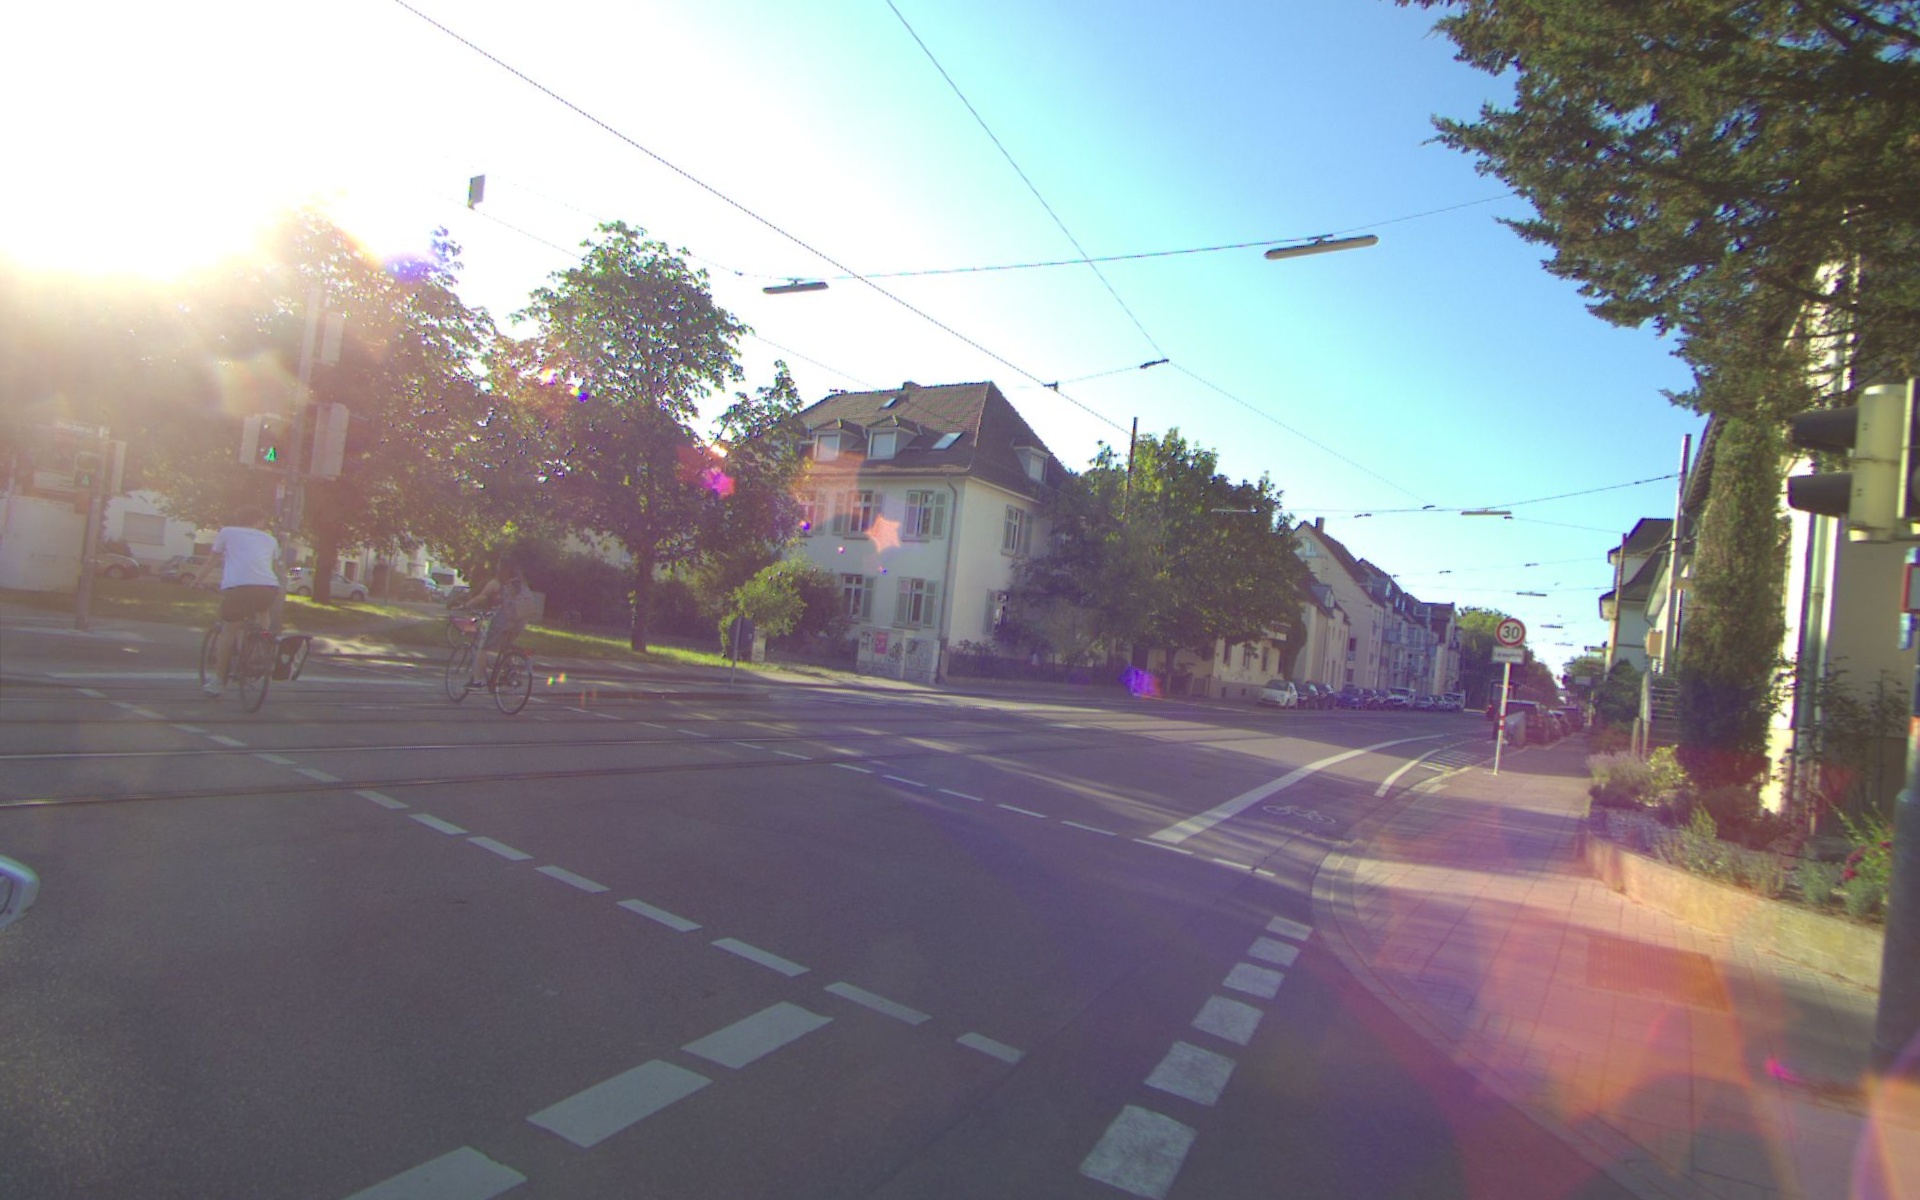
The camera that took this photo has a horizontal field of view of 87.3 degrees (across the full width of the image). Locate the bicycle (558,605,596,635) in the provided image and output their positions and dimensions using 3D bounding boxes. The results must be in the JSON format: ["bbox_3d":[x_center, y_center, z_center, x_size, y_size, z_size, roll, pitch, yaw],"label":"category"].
[{"bbox_3d":[-17.210,0.881,45.191,1.924,1.250,0.450,1,-7,33],"label":"bicycle"}]

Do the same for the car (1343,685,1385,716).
[{"bbox_3d":[30.531,7.641,76.022,1.969,2.036,3.991,5,-3,34],"label":"car"}]

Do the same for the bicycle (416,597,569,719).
[{"bbox_3d":[-5.416,0.647,11.610,1.932,1.196,0.492,4,-4,32],"label":"bicycle"}]

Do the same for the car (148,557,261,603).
[{"bbox_3d":[-33.254,-0.847,44.358,1.579,1.533,3.561,4,-3,31],"label":"car"}]

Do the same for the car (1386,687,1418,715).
[{"bbox_3d":[38.790,8.881,88.228,1.967,2.034,3.999,4,-5,31],"label":"car"}]

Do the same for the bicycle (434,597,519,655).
[{"bbox_3d":[-10.456,0.573,21.787,0.461,1.102,1.519,4,-3,44],"label":"bicycle"}]

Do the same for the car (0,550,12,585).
[{"bbox_3d":[-42.985,-1.650,42.467,1.690,1.462,3.991,3,-4,36],"label":"car"}]

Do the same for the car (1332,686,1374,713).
[{"bbox_3d":[28.158,7.163,72.061,1.896,1.614,3.893,4,-3,34],"label":"car"}]

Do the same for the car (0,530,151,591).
[{"bbox_3d":[-36.063,-1.592,41.076,2.000,1.896,4.245,4,-4,36],"label":"car"}]

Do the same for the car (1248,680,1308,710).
[{"bbox_3d":[17.596,5.280,55.547,1.969,1.325,3.991,5,-3,35],"label":"car"}]

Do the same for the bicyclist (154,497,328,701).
[{"bbox_3d":[-6.711,0.002,9.414,0.878,1.750,0.817,5,-4,28],"label":"bicyclist"}]

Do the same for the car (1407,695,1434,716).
[{"bbox_3d":[44.546,10.223,97.363,1.811,1.551,3.875,4,-6,32],"label":"car"}]

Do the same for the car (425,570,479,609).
[{"bbox_3d":[-38.187,-0.728,75.727,2.077,2.361,4.520,7,-5,-9],"label":"car"}]

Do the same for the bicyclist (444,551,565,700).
[{"bbox_3d":[-5.227,0.298,11.568,0.879,1.578,0.714,4,-4,32],"label":"bicyclist"}]

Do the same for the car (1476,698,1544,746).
[{"bbox_3d":[22.383,4.948,40.862,1.969,1.614,3.992,4,-4,34],"label":"car"}]

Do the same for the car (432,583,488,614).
[{"bbox_3d":[-29.759,-0.069,60.001,1.968,1.570,3.993,7,-2,-13],"label":"car"}]

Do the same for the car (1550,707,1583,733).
[{"bbox_3d":[49.335,9.736,81.776,1.969,1.792,3.991,5,-3,35],"label":"car"}]

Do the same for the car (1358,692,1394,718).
[{"bbox_3d":[33.223,8.387,80.237,1.967,1.631,3.999,4,-6,31],"label":"car"}]

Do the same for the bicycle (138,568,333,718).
[{"bbox_3d":[-6.809,0.387,9.435,1.872,1.196,0.574,5,-4,28],"label":"bicycle"}]

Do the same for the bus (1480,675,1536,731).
[{"bbox_3d":[48.608,9.240,88.997,2.822,3.865,13.310,4,-6,34],"label":"bus"}]

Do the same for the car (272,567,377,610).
[{"bbox_3d":[-30.745,-0.551,48.756,1.499,1.540,3.931,3,-5,31],"label":"car"}]
